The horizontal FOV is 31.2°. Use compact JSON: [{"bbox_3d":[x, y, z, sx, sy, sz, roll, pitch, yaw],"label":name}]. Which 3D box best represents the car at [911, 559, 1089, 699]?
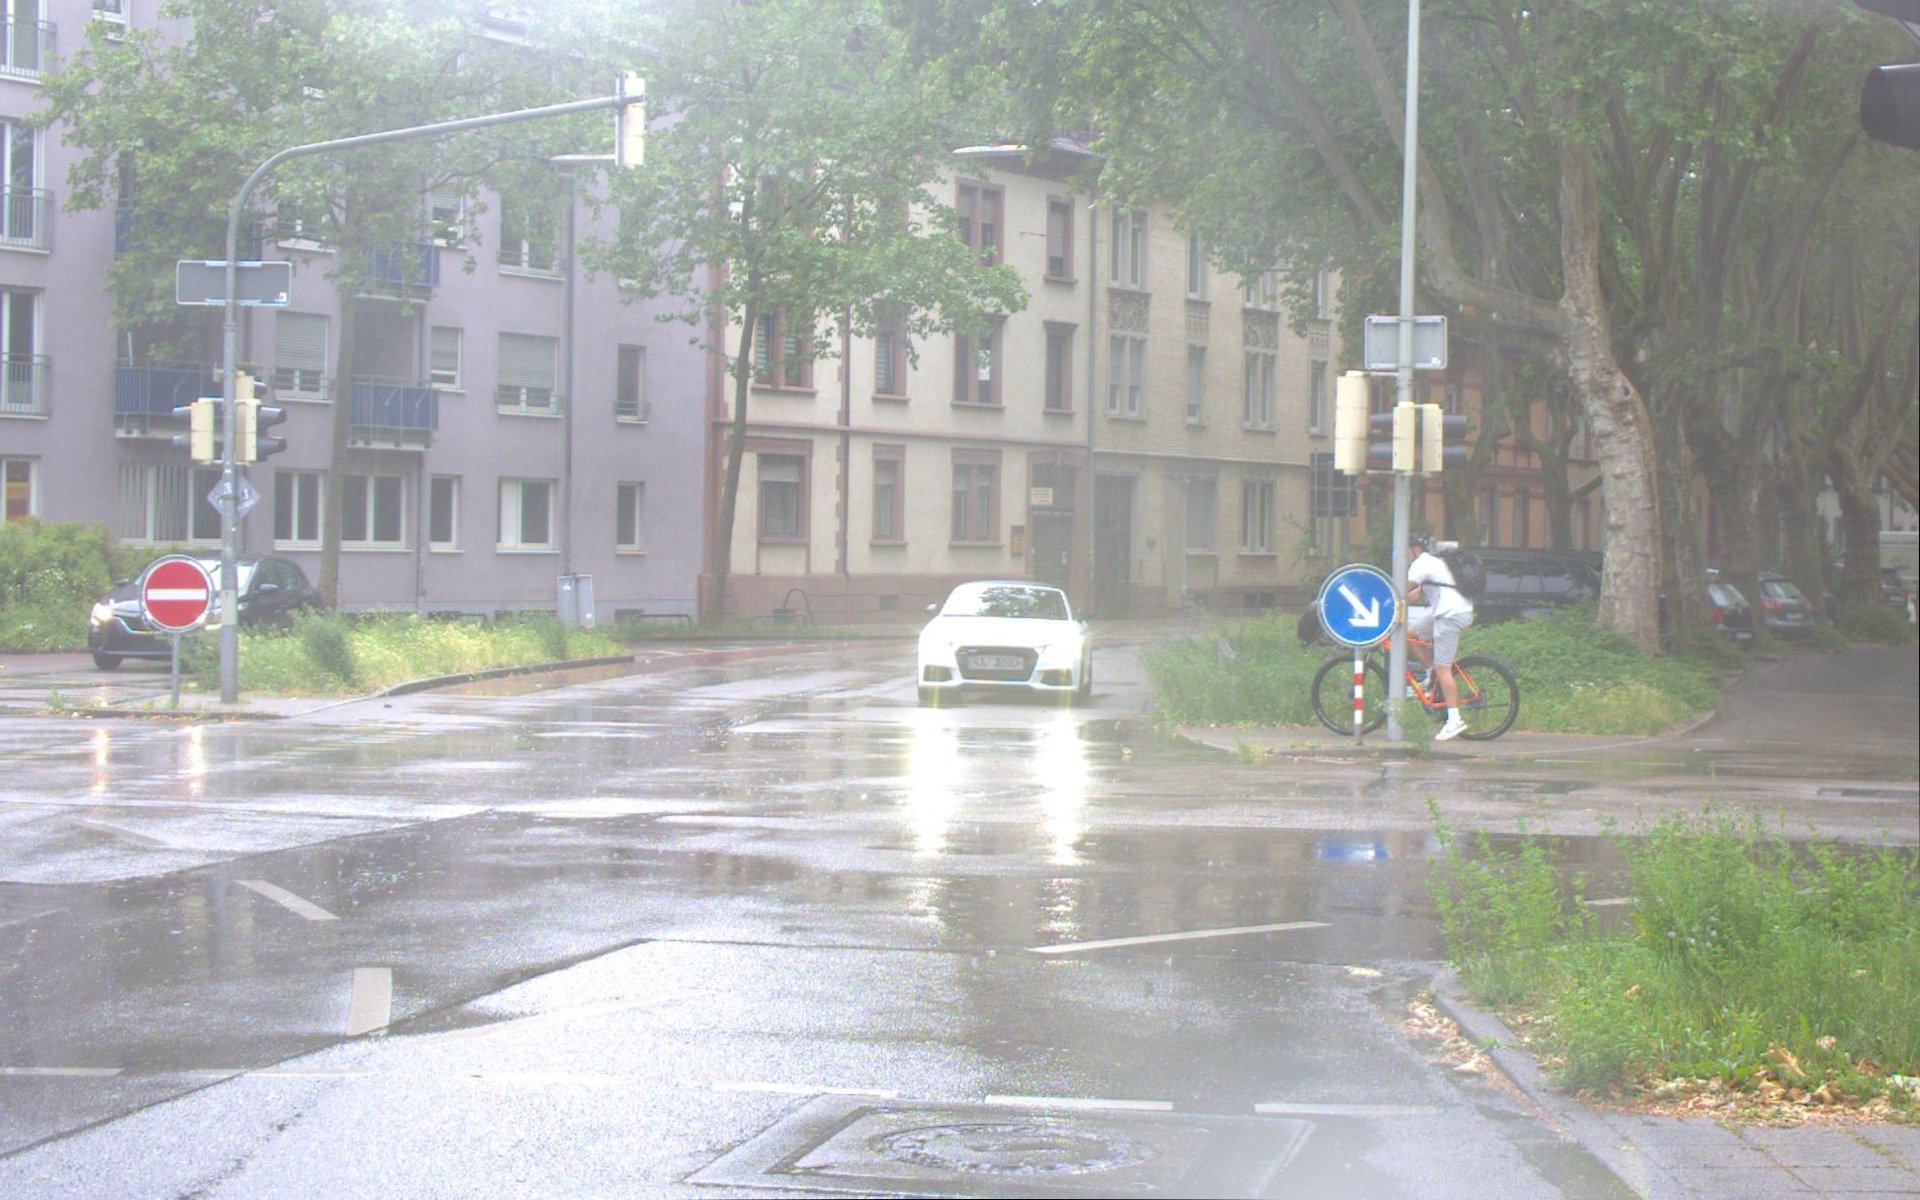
[{"bbox_3d":[0.482,0.288,39.079,1.884,1.431,4.000,1,1,1],"label":"car"}]

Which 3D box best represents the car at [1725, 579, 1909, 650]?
[{"bbox_3d":[19.569,0.310,78.649,3.989,1.542,1.999,1,1,12],"label":"car"}]

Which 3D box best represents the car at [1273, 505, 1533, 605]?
[{"bbox_3d":[6.944,-0.703,53.782,3.868,1.481,1.715,1,0,12],"label":"car"}]

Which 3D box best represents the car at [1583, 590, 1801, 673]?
[{"bbox_3d":[13.928,0.583,65.471,3.989,1.481,1.999,1,1,12],"label":"car"}]

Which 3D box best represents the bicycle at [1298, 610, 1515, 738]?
[{"bbox_3d":[3.943,0.648,30.391,1.873,1.077,0.657,1,0,8],"label":"bicycle"}]

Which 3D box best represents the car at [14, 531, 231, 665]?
[{"bbox_3d":[-10.050,-0.060,41.491,1.751,1.506,3.839,1,1,-2],"label":"car"}]

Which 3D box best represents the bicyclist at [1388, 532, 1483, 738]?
[{"bbox_3d":[4.194,0.300,30.357,0.795,1.780,0.697,1,0,8],"label":"bicyclist"}]

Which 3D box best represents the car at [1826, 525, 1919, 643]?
[{"bbox_3d":[24.389,-0.413,87.710,2.033,2.938,4.773,1,1,-21],"label":"car"}]

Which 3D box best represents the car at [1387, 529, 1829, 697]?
[{"bbox_3d":[6.165,0.105,32.698,3.989,1.481,1.999,1,1,12],"label":"car"}]
